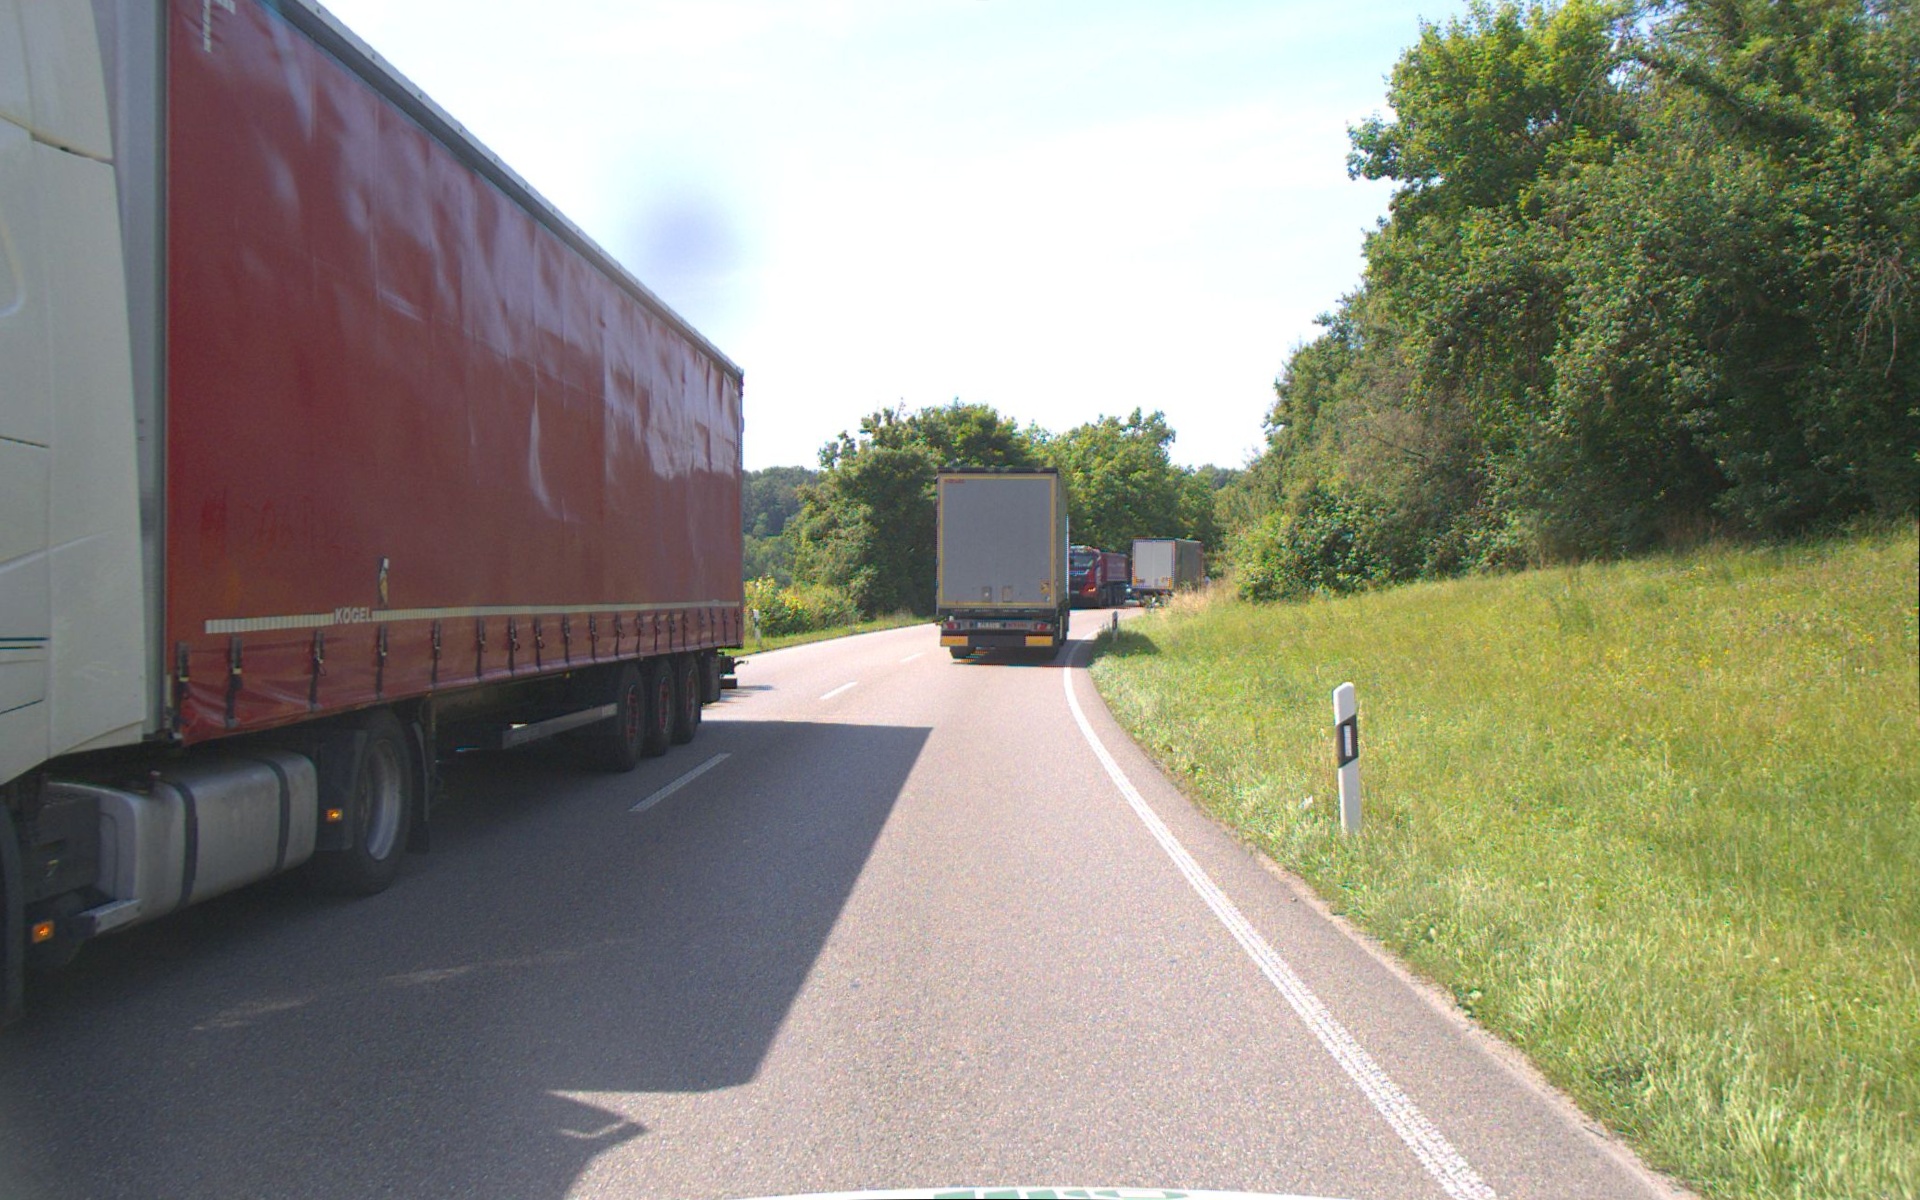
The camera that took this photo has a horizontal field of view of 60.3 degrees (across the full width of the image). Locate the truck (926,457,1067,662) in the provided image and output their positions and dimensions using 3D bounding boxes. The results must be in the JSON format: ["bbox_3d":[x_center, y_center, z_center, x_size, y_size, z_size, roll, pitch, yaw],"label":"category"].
[{"bbox_3d":[1.238,-0.863,41.486,2.743,4.139,15.333,1,0,4],"label":"truck"}]

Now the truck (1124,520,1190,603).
[{"bbox_3d":[12.566,-2.493,104.111,3.038,4.787,16.606,-1,2,10],"label":"truck"}]

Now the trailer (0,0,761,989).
[{"bbox_3d":[-3.872,-0.660,13.069,2.515,4.180,13.666,0,0,2],"label":"trailer"}]

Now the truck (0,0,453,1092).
[{"bbox_3d":[-4.094,-0.625,6.076,2.506,4.187,5.801,0,0,2],"label":"truck"}]

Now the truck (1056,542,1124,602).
[{"bbox_3d":[8.155,-1.669,102.330,2.498,3.513,12.645,0,0,12],"label":"truck"}]
